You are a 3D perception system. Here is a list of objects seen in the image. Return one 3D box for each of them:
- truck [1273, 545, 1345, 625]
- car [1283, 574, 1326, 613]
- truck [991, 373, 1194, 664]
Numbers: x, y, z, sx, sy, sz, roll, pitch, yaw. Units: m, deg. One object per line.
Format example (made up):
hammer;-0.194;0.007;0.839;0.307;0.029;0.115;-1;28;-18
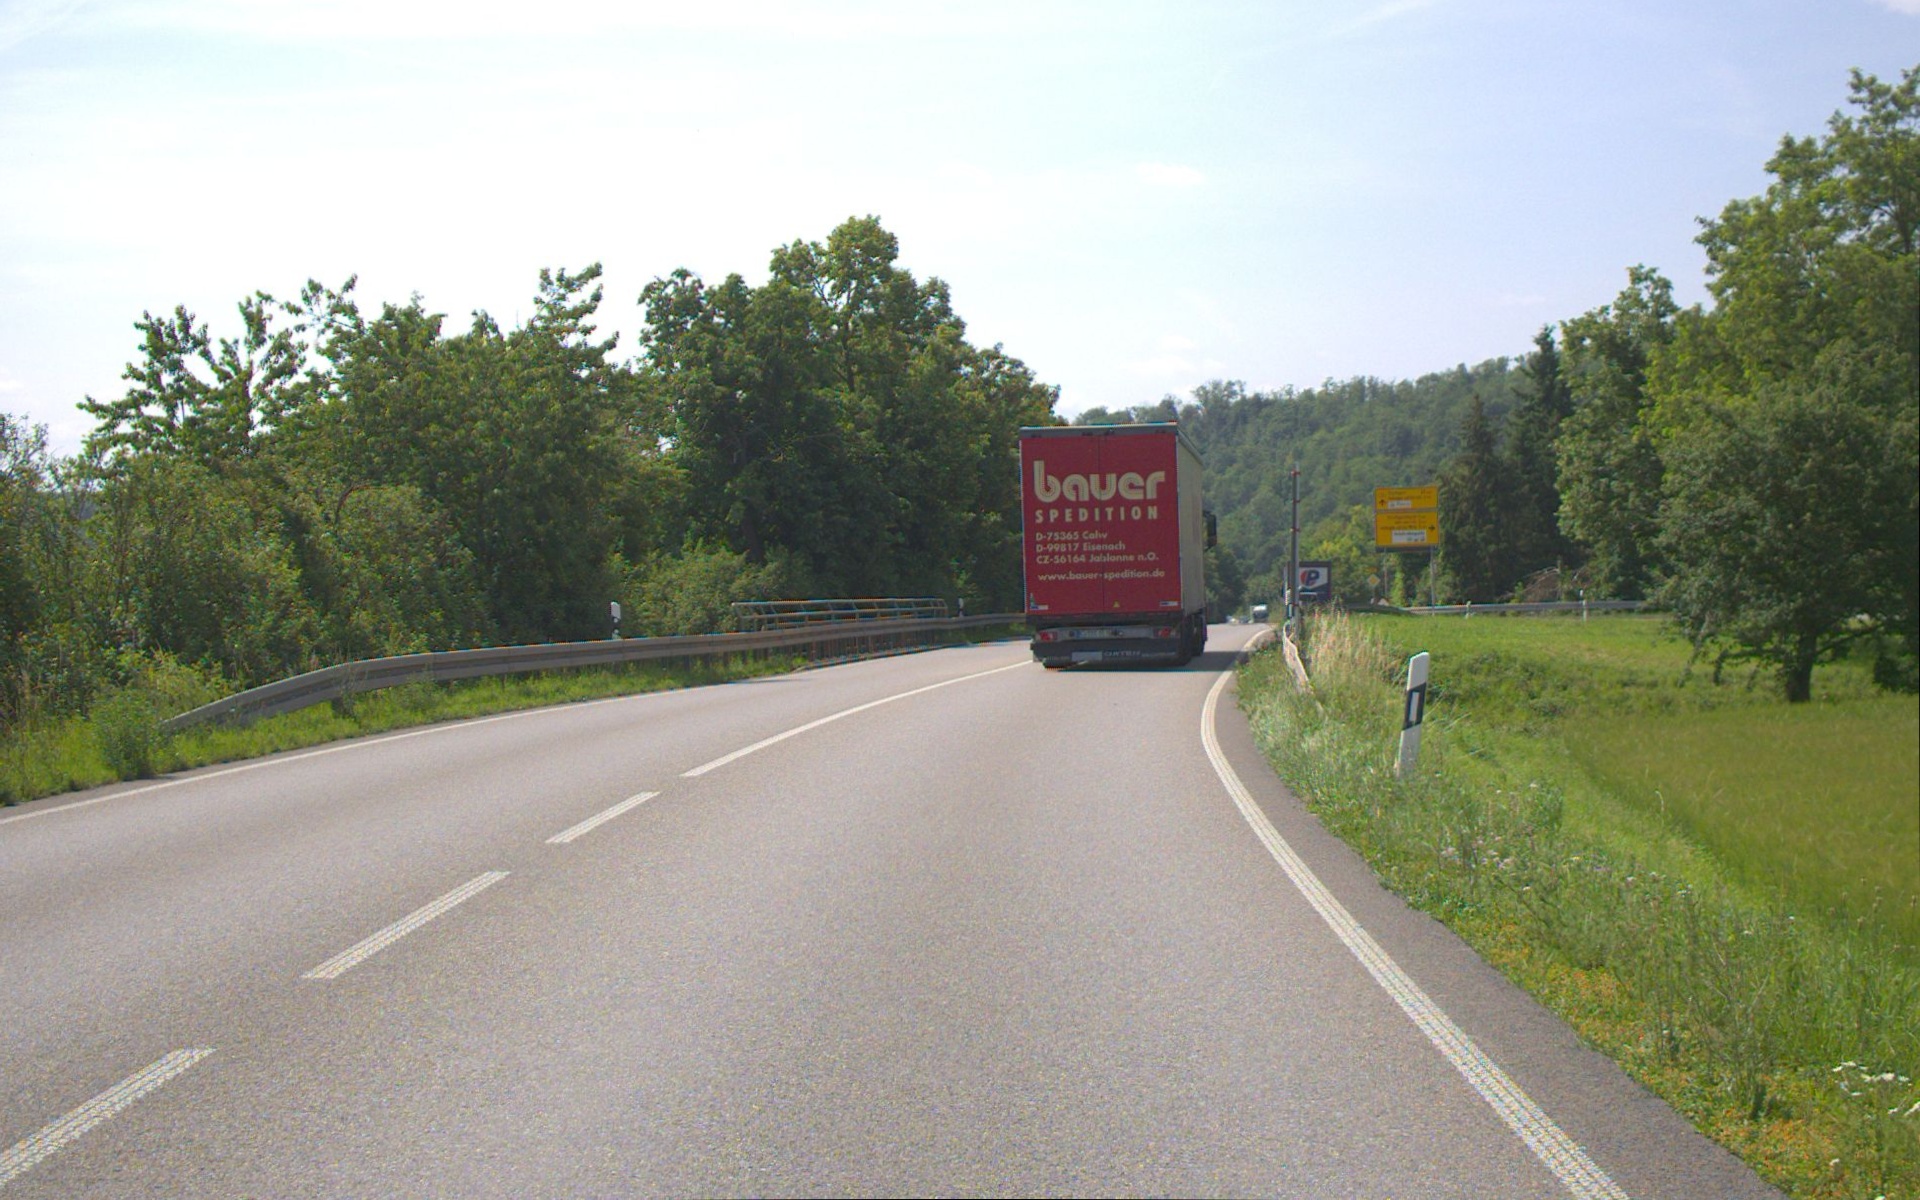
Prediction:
truck;20.993;-0.839;205.918;3.906;4.355;13.287;1;-1;7
car;17.596;-0.319;175.278;1.994;1.804;3.998;2;-1;8
truck;2.565;-1.320;61.542;3.173;4.610;13.541;0;0;4
